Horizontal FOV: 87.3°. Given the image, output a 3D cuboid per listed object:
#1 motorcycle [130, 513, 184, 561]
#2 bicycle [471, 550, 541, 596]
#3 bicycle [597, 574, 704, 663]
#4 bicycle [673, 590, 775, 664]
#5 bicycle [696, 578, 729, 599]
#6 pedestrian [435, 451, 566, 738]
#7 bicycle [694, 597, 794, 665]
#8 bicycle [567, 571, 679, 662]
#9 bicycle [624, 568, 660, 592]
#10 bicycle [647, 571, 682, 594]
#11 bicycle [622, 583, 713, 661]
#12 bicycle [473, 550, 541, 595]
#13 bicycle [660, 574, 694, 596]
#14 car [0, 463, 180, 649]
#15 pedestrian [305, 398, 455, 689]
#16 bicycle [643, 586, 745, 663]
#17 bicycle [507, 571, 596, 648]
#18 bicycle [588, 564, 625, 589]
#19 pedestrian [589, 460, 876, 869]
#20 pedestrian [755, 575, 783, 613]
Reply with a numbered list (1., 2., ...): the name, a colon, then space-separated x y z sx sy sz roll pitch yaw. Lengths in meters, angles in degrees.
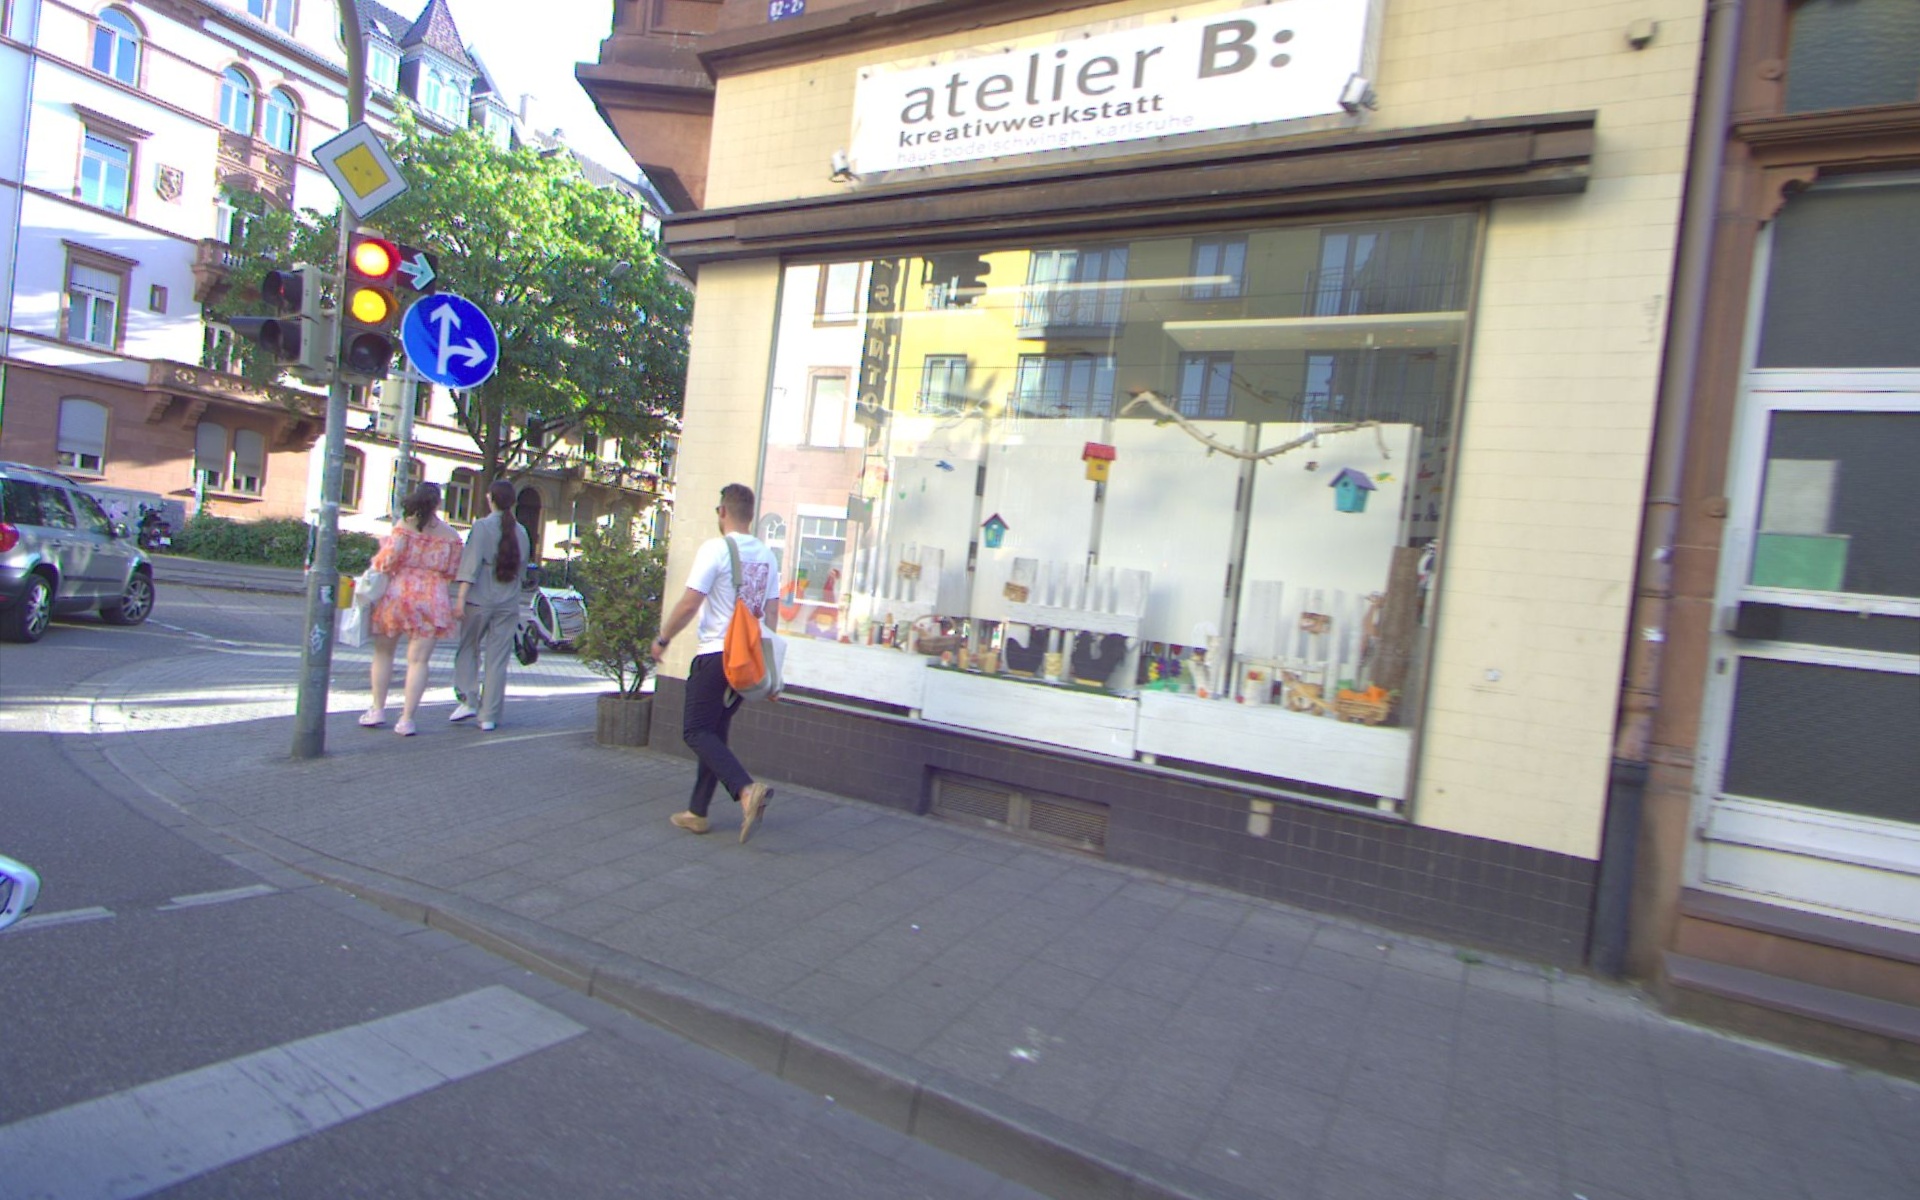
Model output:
1. motorcycle: -21.804 -1.724 27.300 2.254 1.033 0.718 10 3 41
2. bicycle: -13.887 -0.832 30.814 1.840 1.177 0.556 6 3 -24
3. bicycle: -4.934 0.277 15.964 1.890 1.239 0.449 5 1 34
4. bicycle: -4.082 0.451 17.334 1.890 1.113 0.449 5 1 34
5. bicycle: -12.678 -0.591 51.525 1.768 0.904 0.492 7 1 32
6. pedestrian: -3.301 -0.050 7.205 0.685 1.936 0.663 1 6 -35
7. bicycle: -3.823 0.534 17.723 1.890 1.012 0.449 5 0 34
8. bicycle: -5.231 0.239 15.540 1.890 1.239 0.504 5 1 34
9. bicycle: -14.853 -0.928 47.003 1.768 0.904 0.492 7 1 32
10. bicycle: -14.193 -0.840 48.364 1.768 0.904 0.492 7 1 32
11. bicycle: -4.808 0.354 16.490 1.585 1.125 0.449 5 1 34
12. bicycle: -14.108 -0.852 31.370 1.840 1.177 0.556 6 3 -24
13. bicycle: -13.855 -0.744 49.270 1.768 0.904 0.492 7 1 32
14. car: -10.045 -0.550 10.403 1.974 1.637 3.980 8 -2 -23
15. pedestrian: -3.908 -0.364 6.819 0.798 1.826 0.755 2 6 -29
16. bicycle: -4.488 0.401 16.896 1.890 1.112 0.449 5 1 34
17. bicycle: -6.220 0.147 15.303 1.047 1.058 0.777 5 0 39
18. bicycle: -15.943 -1.067 45.370 1.768 0.904 0.492 7 1 32
19. pedestrian: -1.166 0.264 5.162 1.073 1.826 0.805 8 6 28
20. pedestrian: -7.776 -0.238 40.930 0.903 1.448 0.760 2 3 -27
